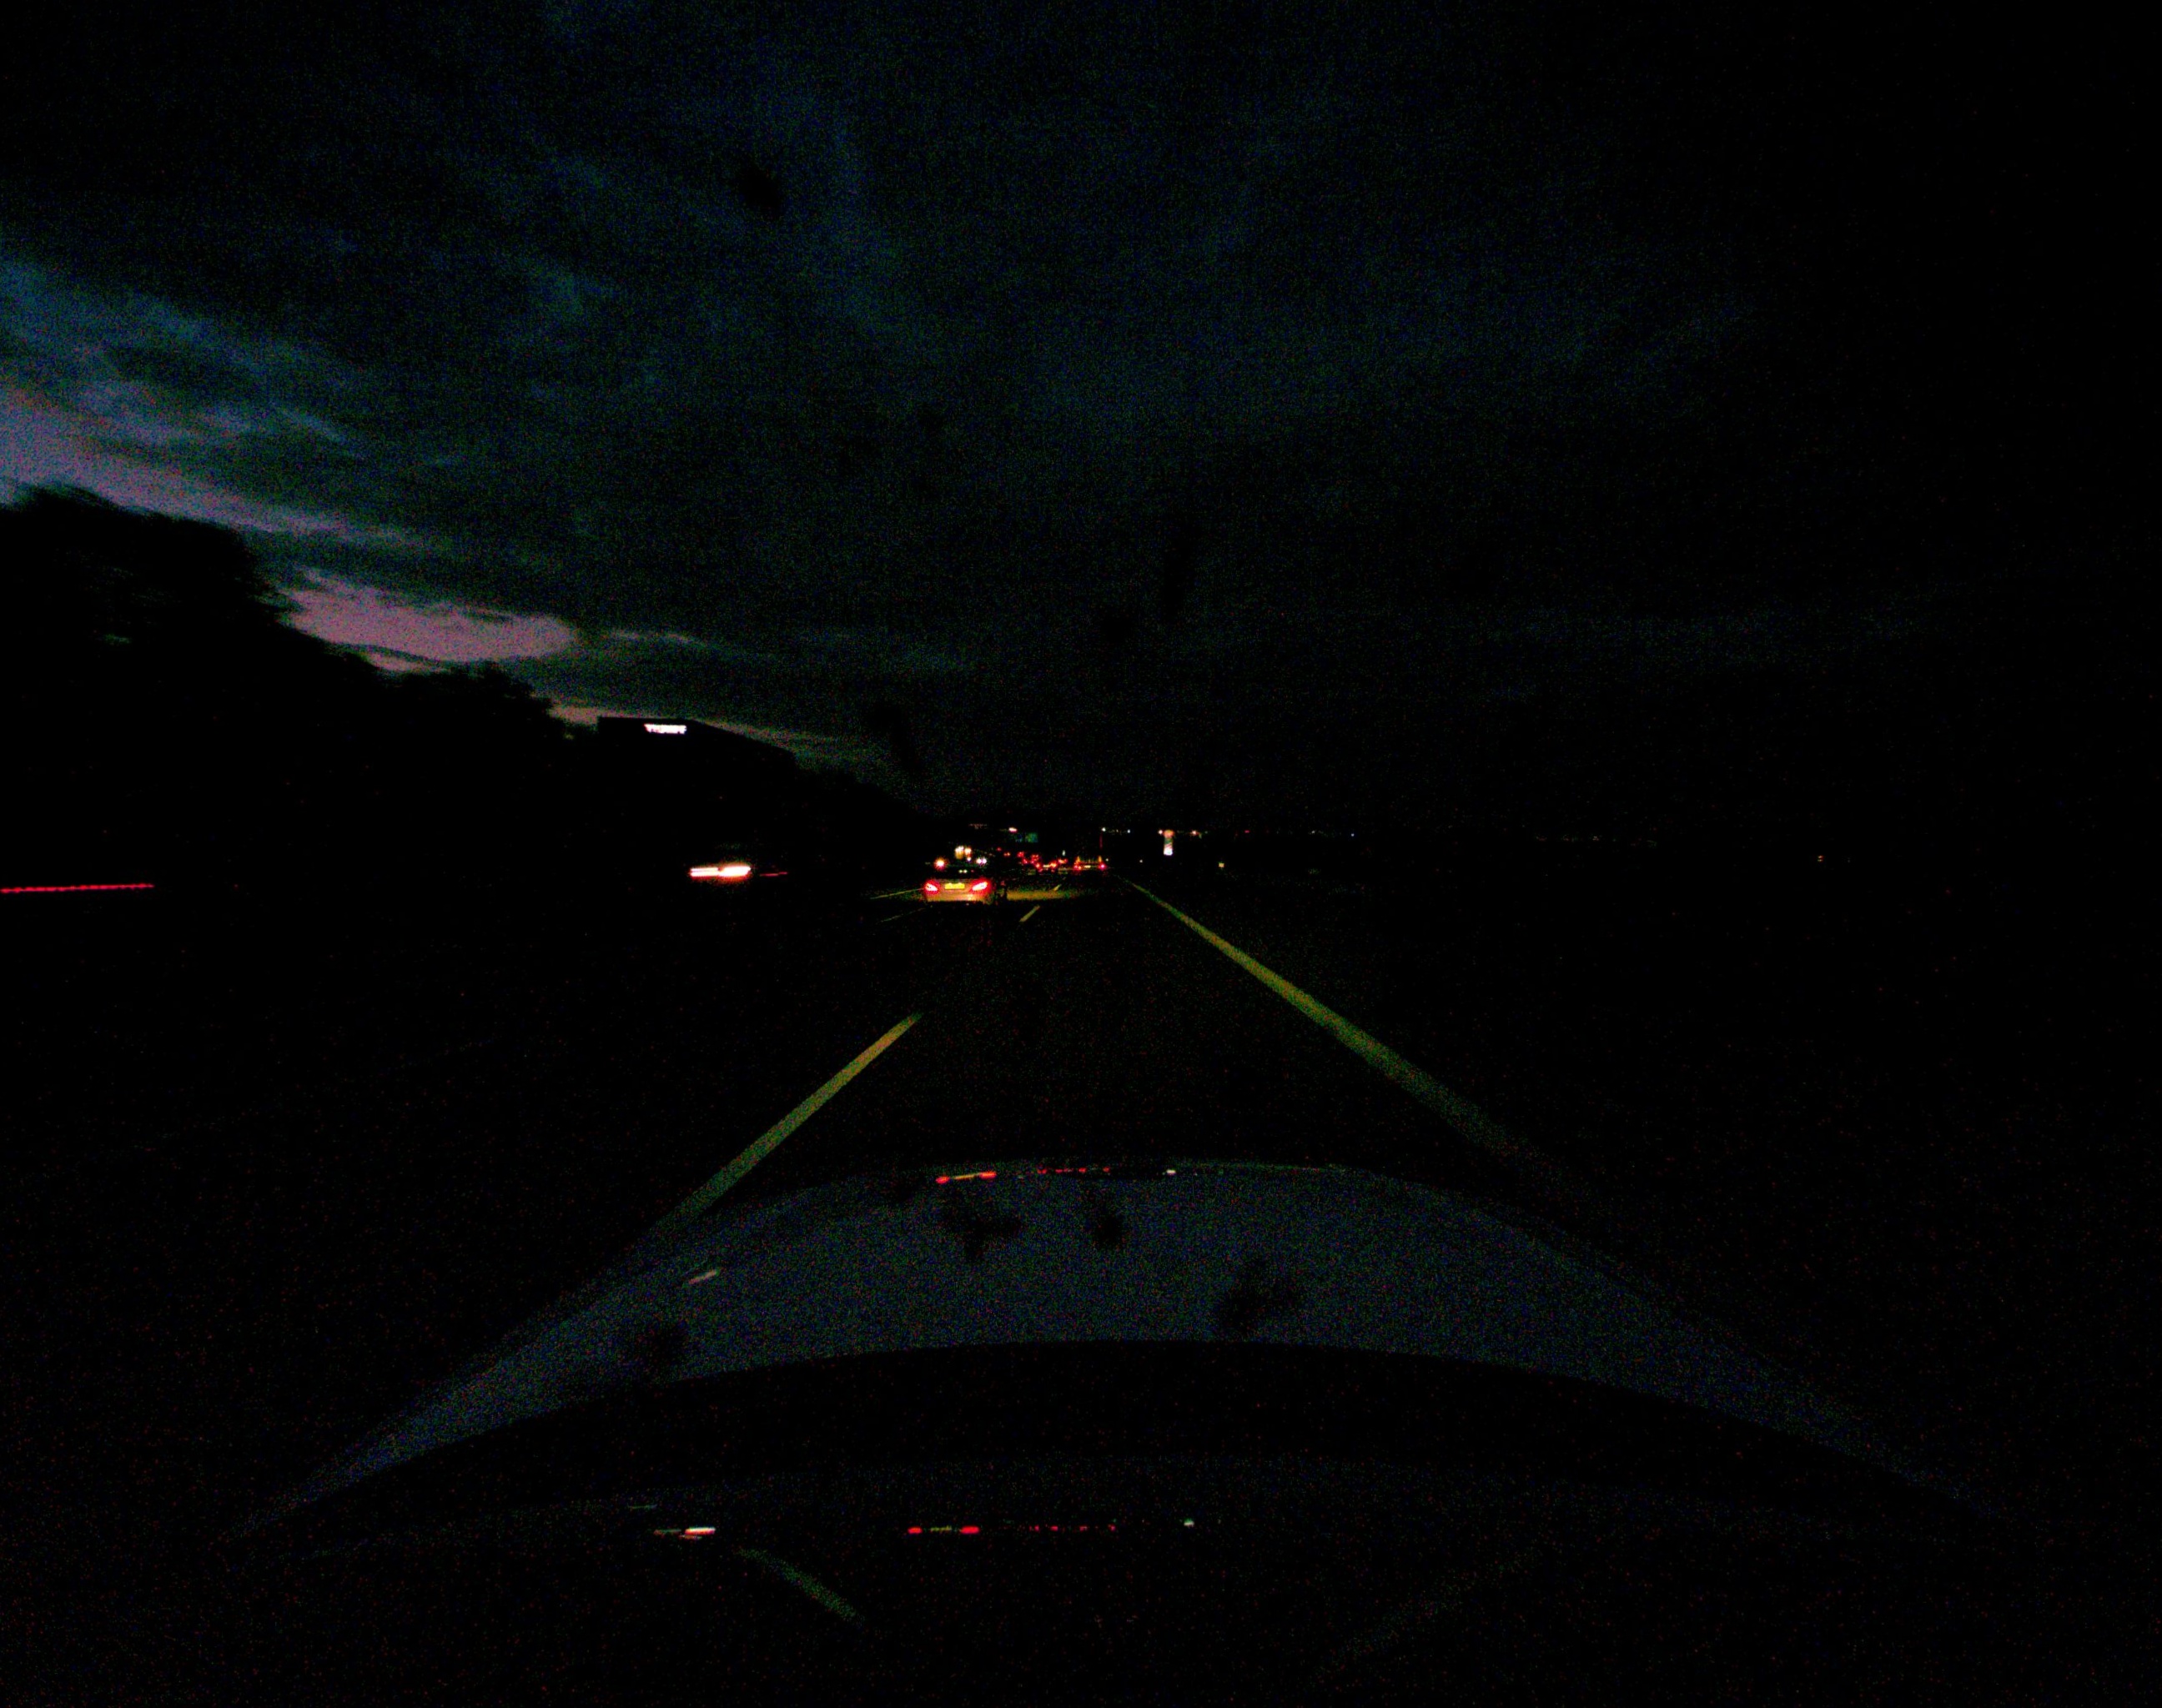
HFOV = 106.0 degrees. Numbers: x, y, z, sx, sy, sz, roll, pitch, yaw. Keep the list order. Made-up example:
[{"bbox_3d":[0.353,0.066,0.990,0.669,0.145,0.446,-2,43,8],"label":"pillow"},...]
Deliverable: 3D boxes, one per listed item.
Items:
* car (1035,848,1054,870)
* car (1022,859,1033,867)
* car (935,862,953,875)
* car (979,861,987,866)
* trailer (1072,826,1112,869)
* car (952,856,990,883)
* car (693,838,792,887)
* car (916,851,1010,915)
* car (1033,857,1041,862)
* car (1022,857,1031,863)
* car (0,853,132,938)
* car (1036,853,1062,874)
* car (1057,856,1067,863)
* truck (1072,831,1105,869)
[{"bbox_3d":[-4.060,0.519,90.053,1.989,2.380,3.995,0,-1,-4],"label":"car"},{"bbox_3d":[-10.396,1.775,158.331,1.992,1.622,3.990,0,-1,-7],"label":"car"},{"bbox_3d":[-20.765,2.189,123.560,1.988,1.791,4.838,0,-1,-1],"label":"car"},{"bbox_3d":[-26.337,2.471,218.869,1.831,1.336,4.903,0,-1,-4],"label":"car"},{"bbox_3d":[0.955,-0.513,85.412,3.540,4.116,15.052,-1,-1,-2],"label":"trailer"},{"bbox_3d":[-6.814,0.954,50.808,1.756,1.575,4.574,0,-1,-1],"label":"car"},{"bbox_3d":[-18.415,0.462,44.778,2.317,2.431,7.096,0,-1,1],"label":"car"},{"bbox_3d":[-3.247,0.768,23.333,1.900,1.614,4.804,0,-1,1],"label":"car"},{"bbox_3d":[-12.948,1.649,239.870,1.994,1.622,3.986,0,-1,-10],"label":"car"},{"bbox_3d":[-14.045,1.548,208.677,1.992,1.468,3.988,0,-1,-8],"label":"car"},{"bbox_3d":[-22.574,0.839,15.974,1.986,1.693,4.971,0,-1,1],"label":"car"},{"bbox_3d":[-2.670,0.800,68.397,2.060,1.686,4.573,0,-1,-2],"label":"car"},{"bbox_3d":[-4.224,1.122,176.572,1.989,1.534,3.994,0,-1,-4],"label":"car"},{"bbox_3d":[0.786,-0.413,93.024,3.541,4.091,6.147,-1,-1,-2],"label":"truck"}]
